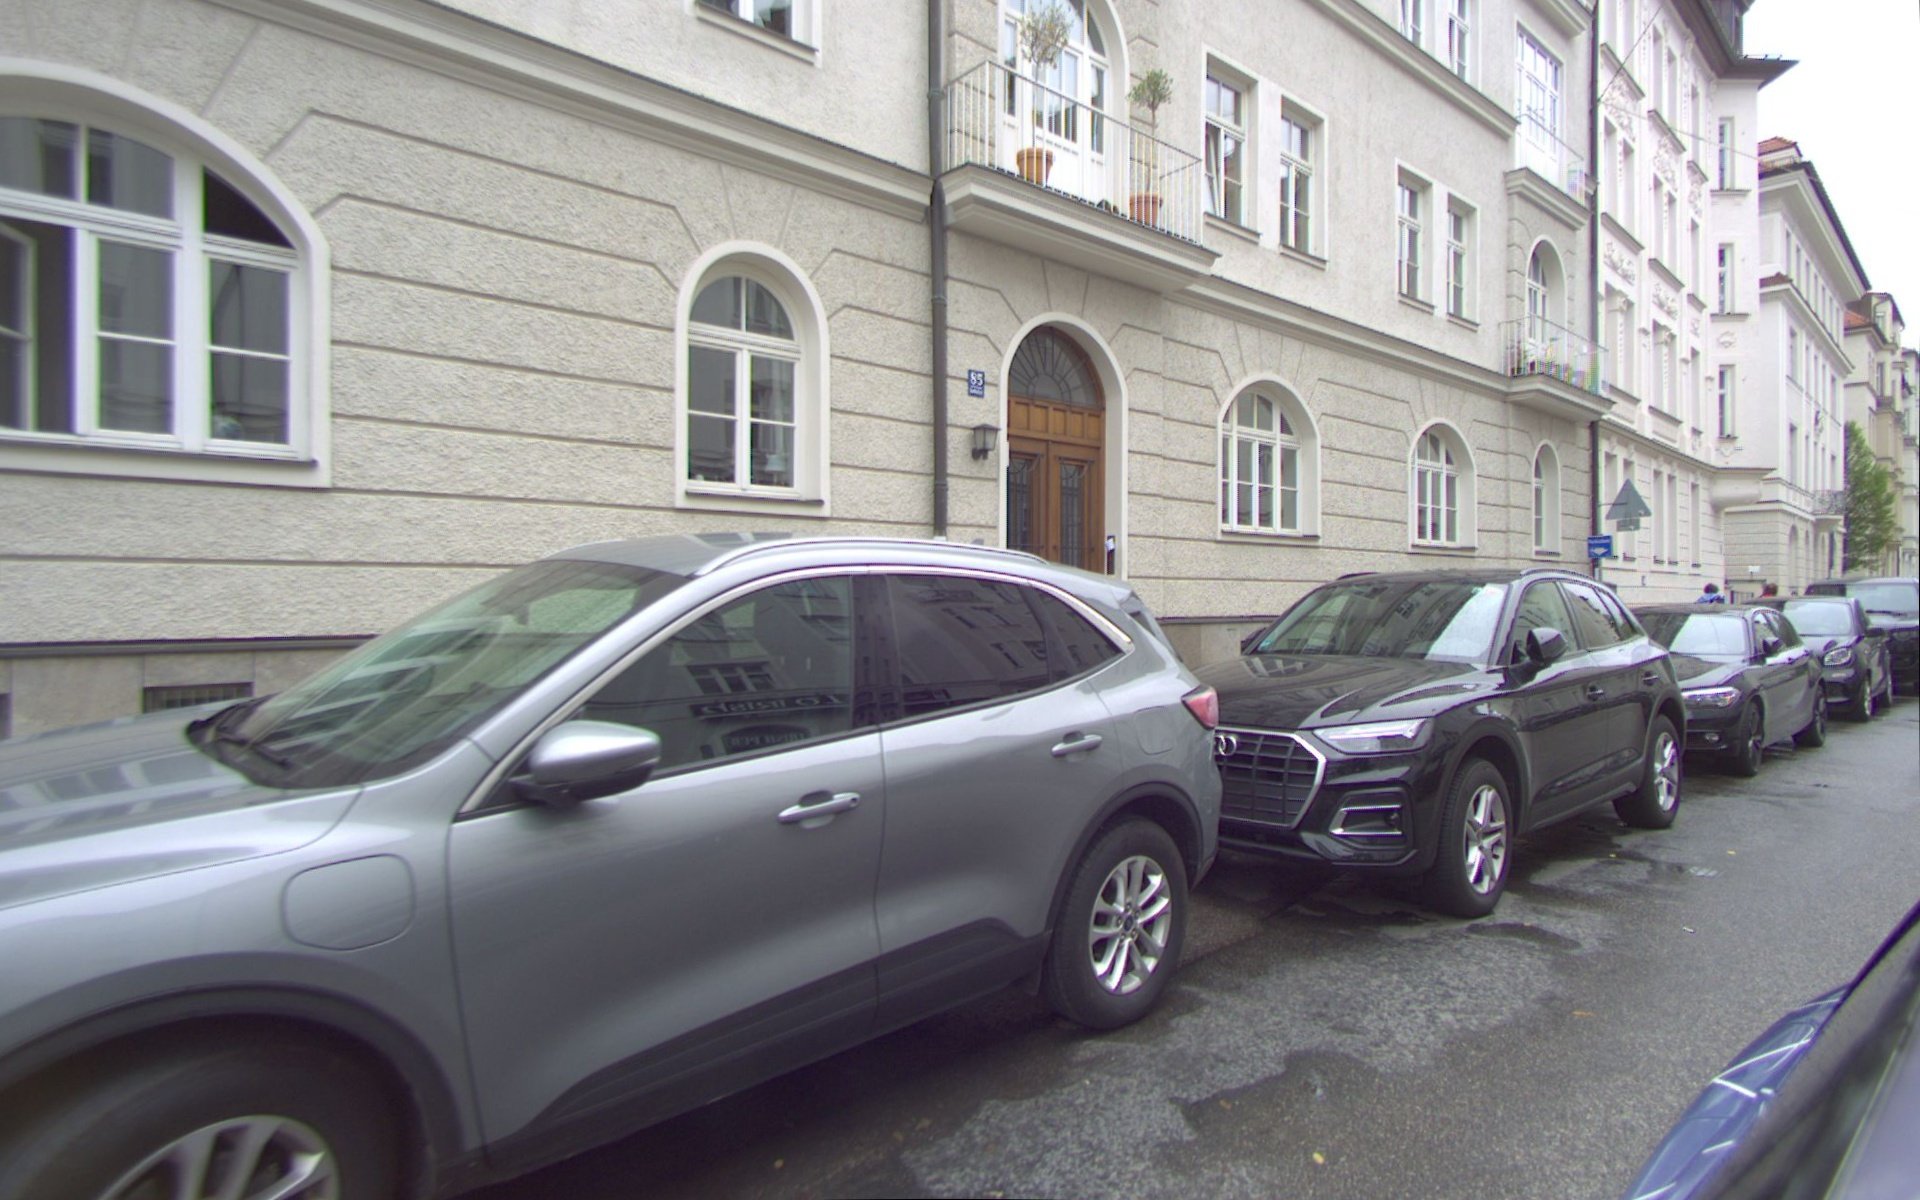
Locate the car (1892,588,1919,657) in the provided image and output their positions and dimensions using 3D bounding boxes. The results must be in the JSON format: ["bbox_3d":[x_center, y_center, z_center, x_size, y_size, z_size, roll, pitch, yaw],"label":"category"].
[{"bbox_3d":[23.997,0.518,24.641,3.934,1.608,1.708,0,-1,-45],"label":"car"}]

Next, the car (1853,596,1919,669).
[{"bbox_3d":[19.917,0.621,20.935,3.519,1.413,1.666,-1,-1,-41],"label":"car"}]

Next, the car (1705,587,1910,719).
[{"bbox_3d":[11.463,0.617,13.613,3.574,1.545,1.657,0,0,-42],"label":"car"}]

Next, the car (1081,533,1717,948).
[{"bbox_3d":[2.864,0.558,6.117,4.297,1.656,1.781,0,-1,-40],"label":"car"}]

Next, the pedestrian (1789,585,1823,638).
[{"bbox_3d":[27.583,0.365,32.995,0.798,1.699,0.683,1,2,-43],"label":"pedestrian"}]

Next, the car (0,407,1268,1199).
[{"bbox_3d":[-0.980,0.557,3.160,4.352,1.734,1.791,0,1,-43],"label":"car"}]

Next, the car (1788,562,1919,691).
[{"bbox_3d":[15.556,0.401,16.991,4.634,1.909,1.912,0,-1,-43],"label":"car"}]

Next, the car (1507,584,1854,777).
[{"bbox_3d":[7.068,0.609,9.772,4.125,1.489,1.710,0,1,-39],"label":"car"}]

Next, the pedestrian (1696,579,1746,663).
[{"bbox_3d":[15.906,0.429,21.143,0.643,1.695,0.680,0,2,-45],"label":"pedestrian"}]

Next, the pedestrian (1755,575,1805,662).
[{"bbox_3d":[17.037,0.366,21.019,0.692,1.750,0.703,0,1,-45],"label":"pedestrian"}]
